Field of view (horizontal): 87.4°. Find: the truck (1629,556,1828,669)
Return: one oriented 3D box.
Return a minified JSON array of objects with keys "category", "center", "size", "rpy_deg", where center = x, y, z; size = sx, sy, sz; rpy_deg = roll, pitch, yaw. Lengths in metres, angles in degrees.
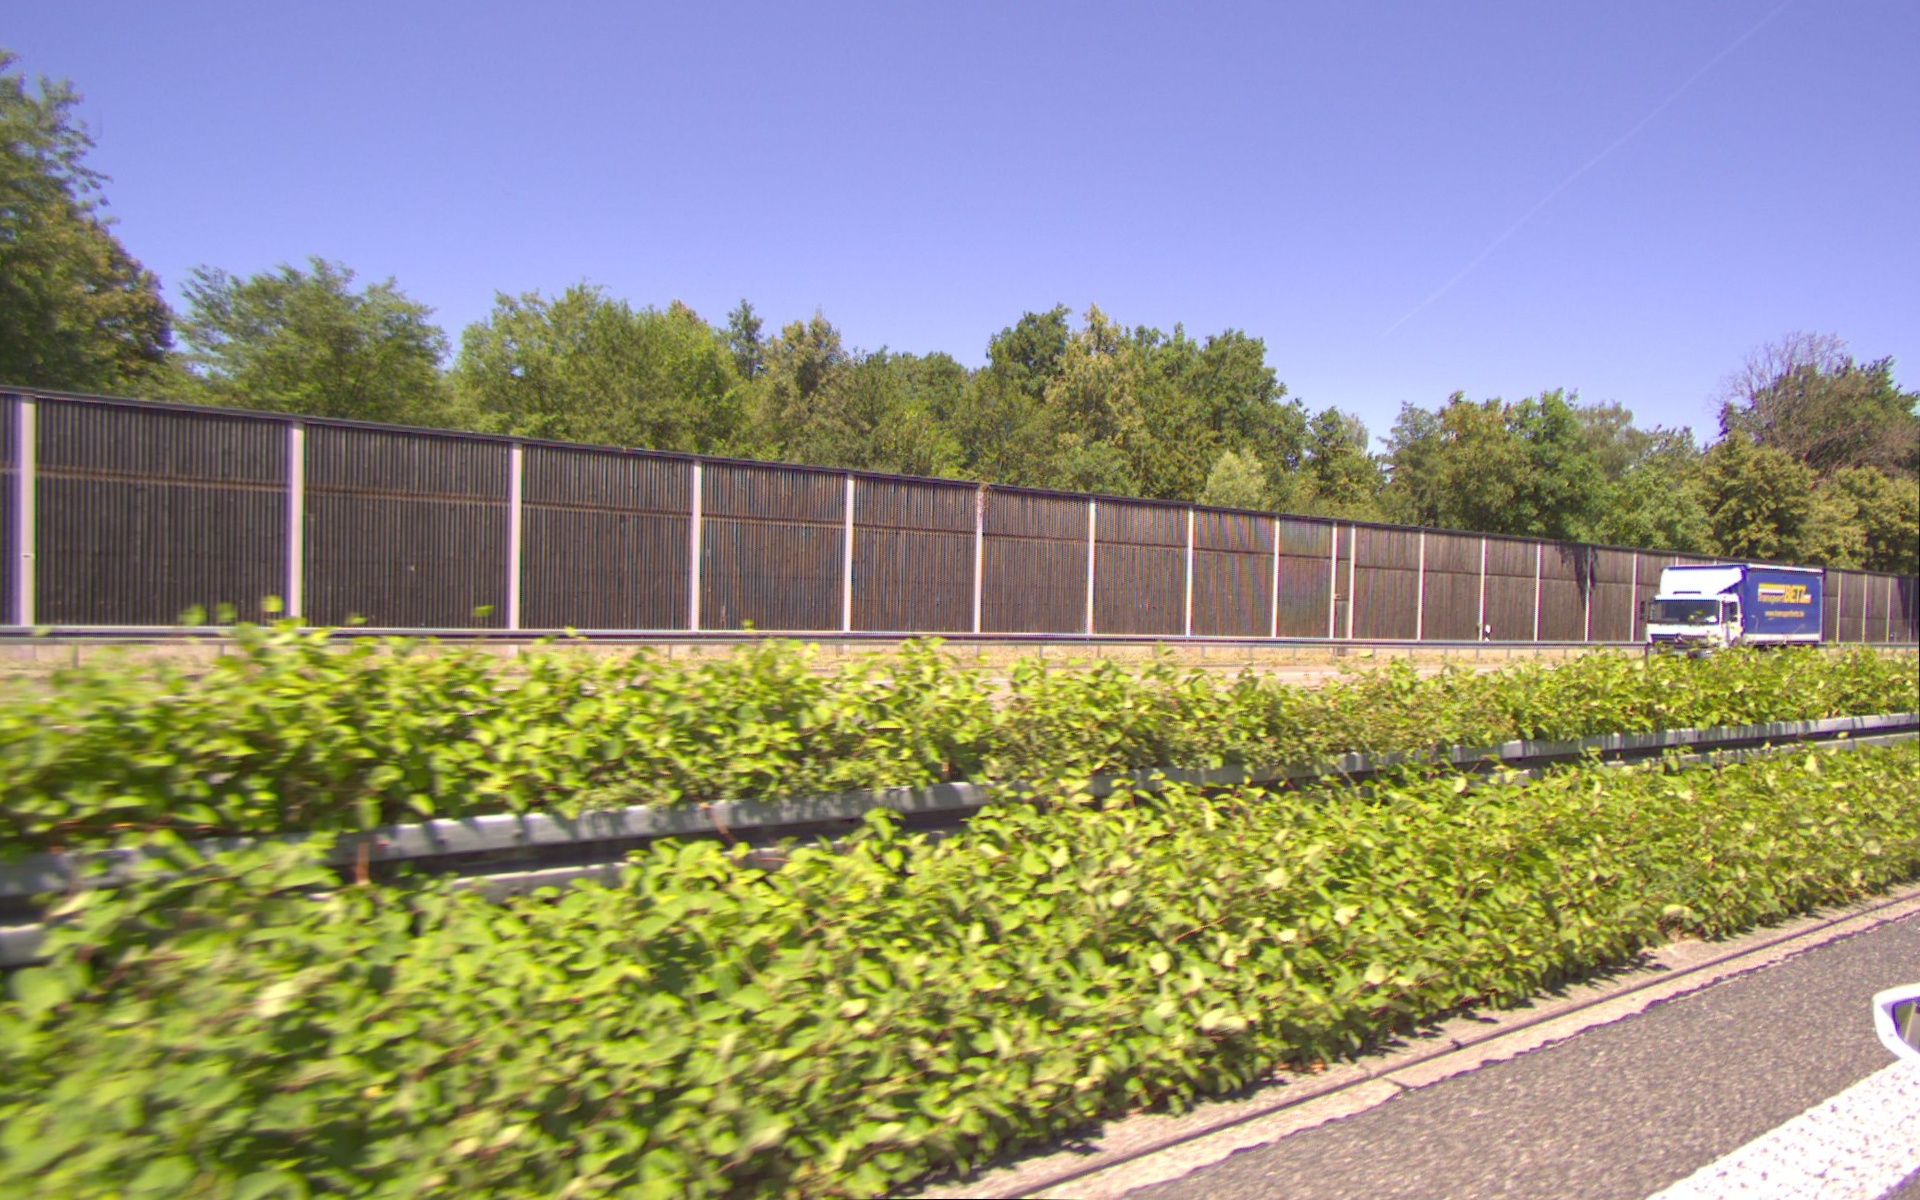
[{"category":"truck","center":[27.652,0.510,36.007],"size":[8.648,3.657,2.817],"rpy_deg":[2,0,-32]}]
